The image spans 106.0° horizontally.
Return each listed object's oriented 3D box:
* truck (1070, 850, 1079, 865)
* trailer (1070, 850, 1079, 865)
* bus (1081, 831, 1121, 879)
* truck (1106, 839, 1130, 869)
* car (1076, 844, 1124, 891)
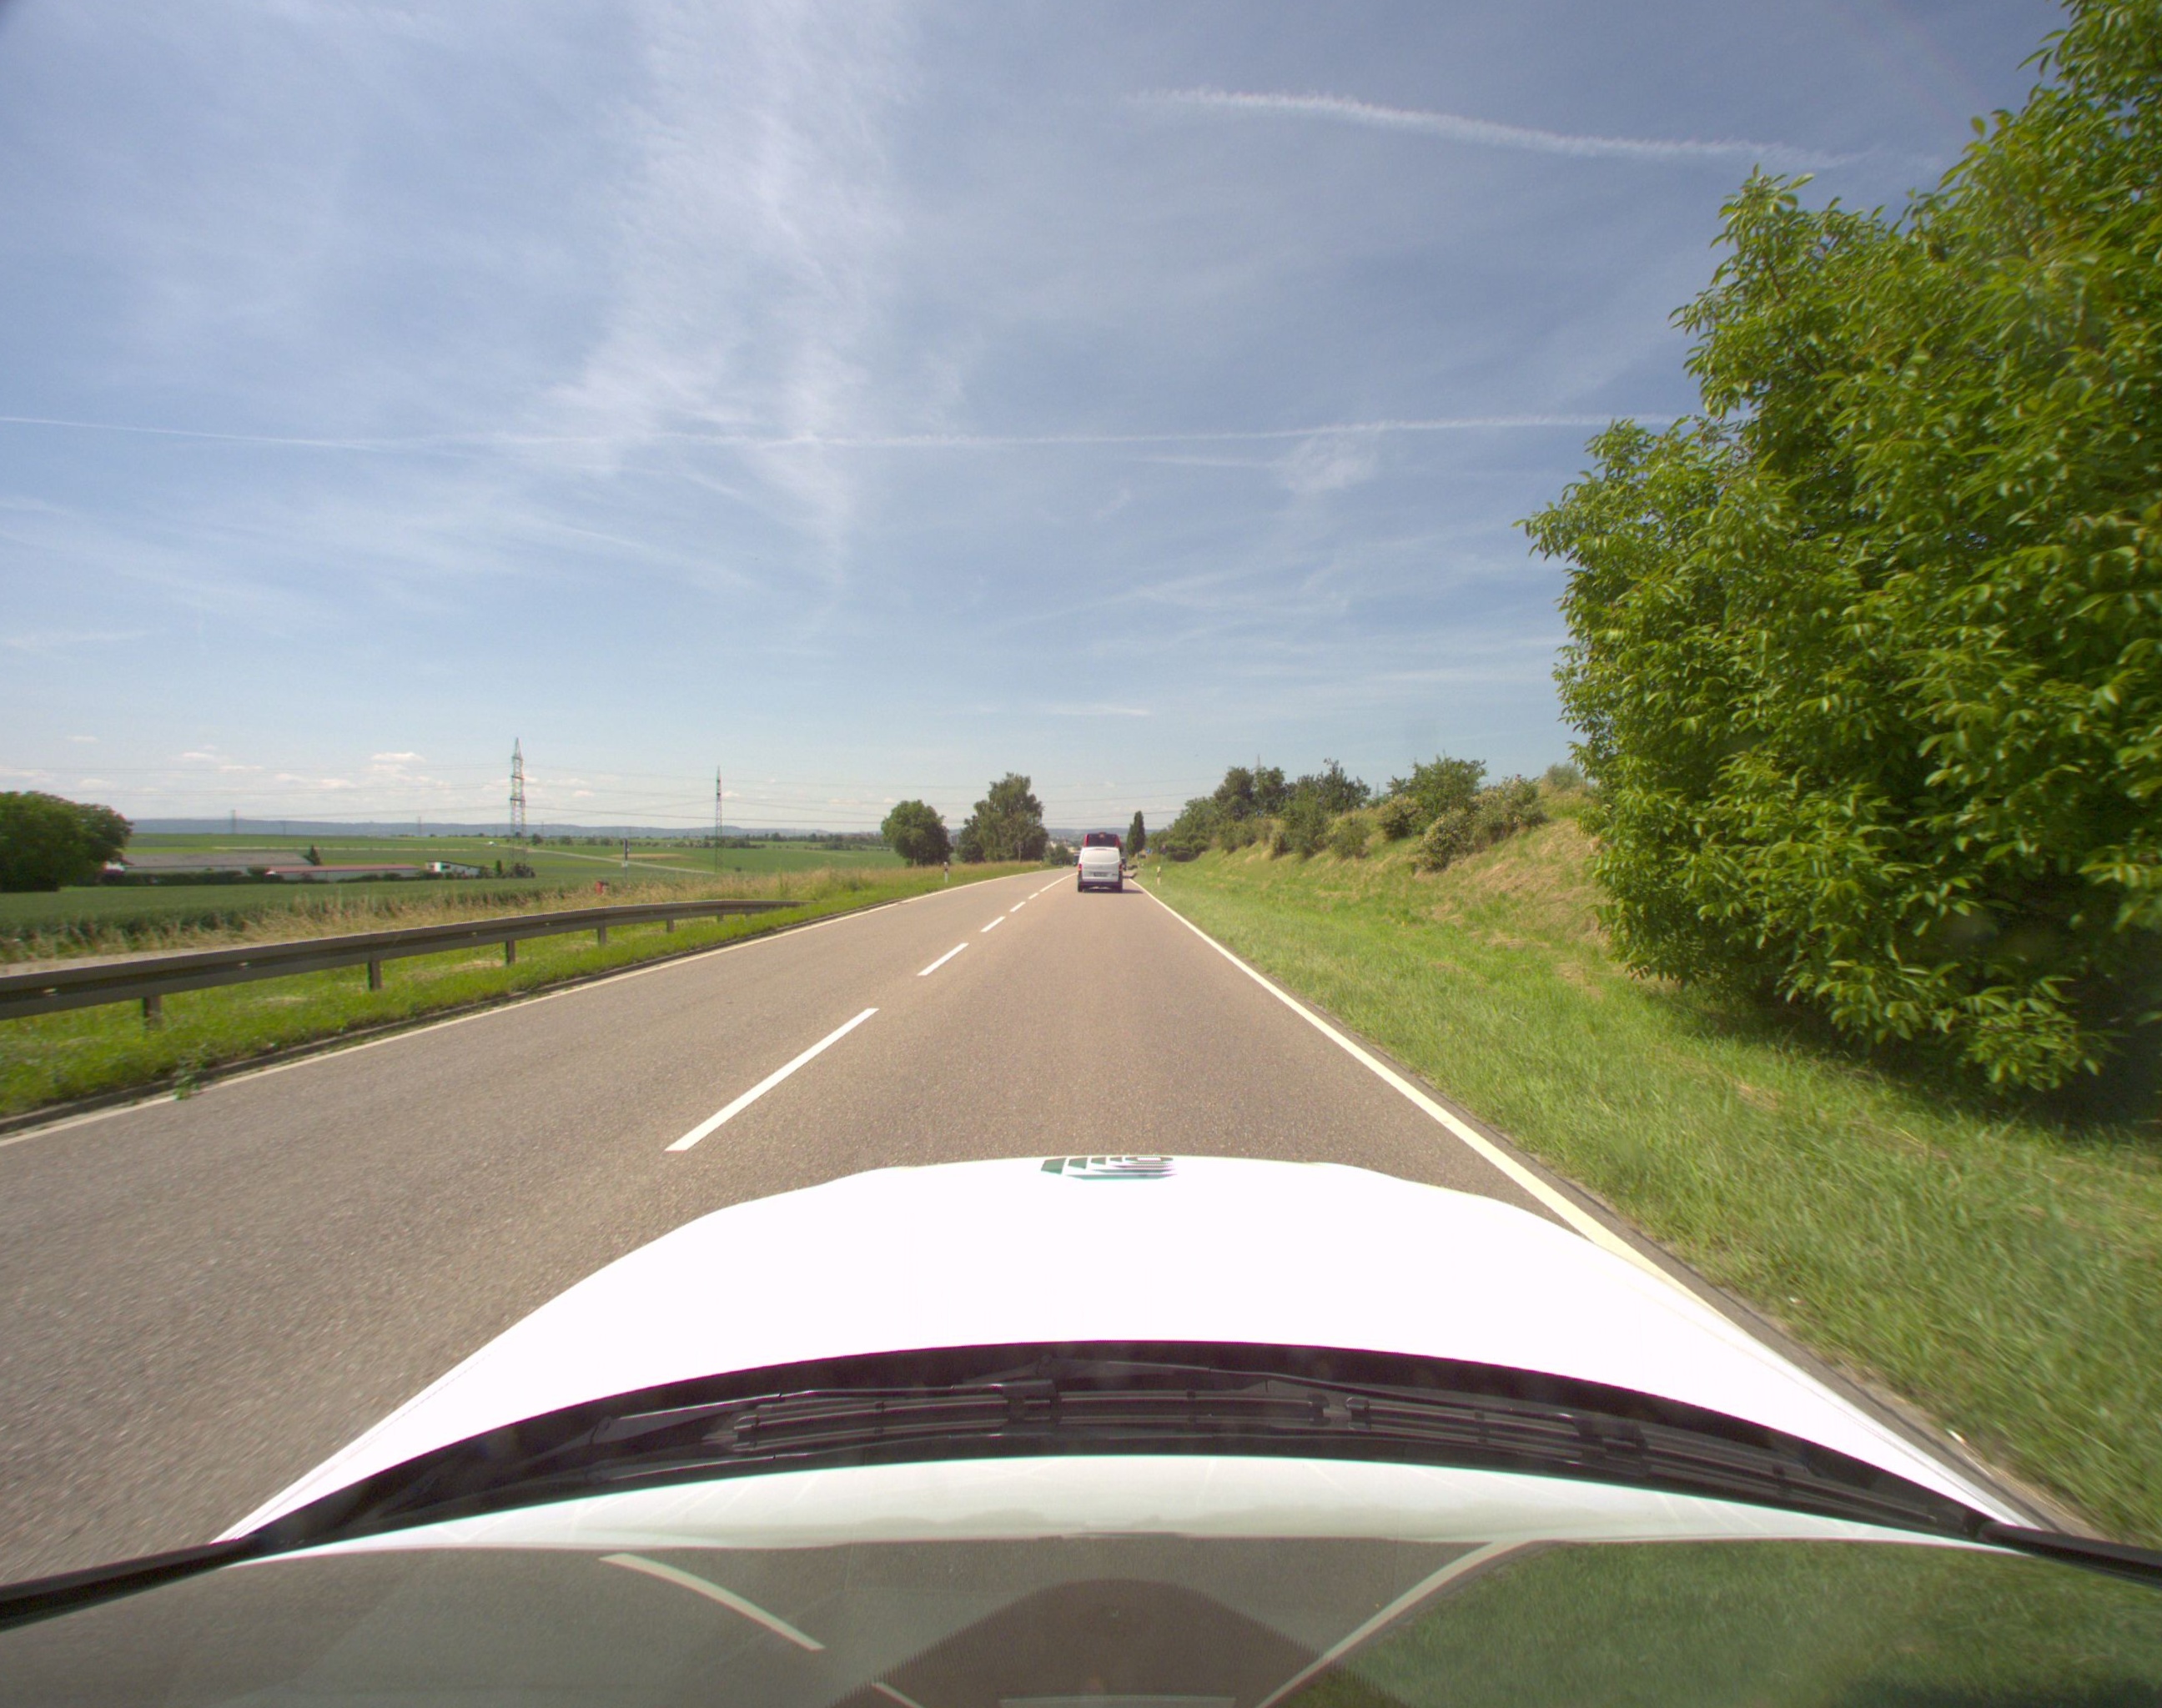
[{"bbox_3d":[-1.781,0.930,220.693,2.577,4.104,5.439,1,-1,-1],"label":"truck"},{"bbox_3d":[-1.876,1.003,227.631,2.585,4.143,13.734,1,-1,-1],"label":"trailer"},{"bbox_3d":[1.663,-0.090,64.841,2.736,3.353,13.229,-2,1,2],"label":"bus"},{"bbox_3d":[5.884,0.059,131.228,3.475,4.423,14.908,-1,0,2],"label":"truck"},{"bbox_3d":[0.833,0.564,34.949,1.916,1.889,4.002,-1,0,2],"label":"car"}]
